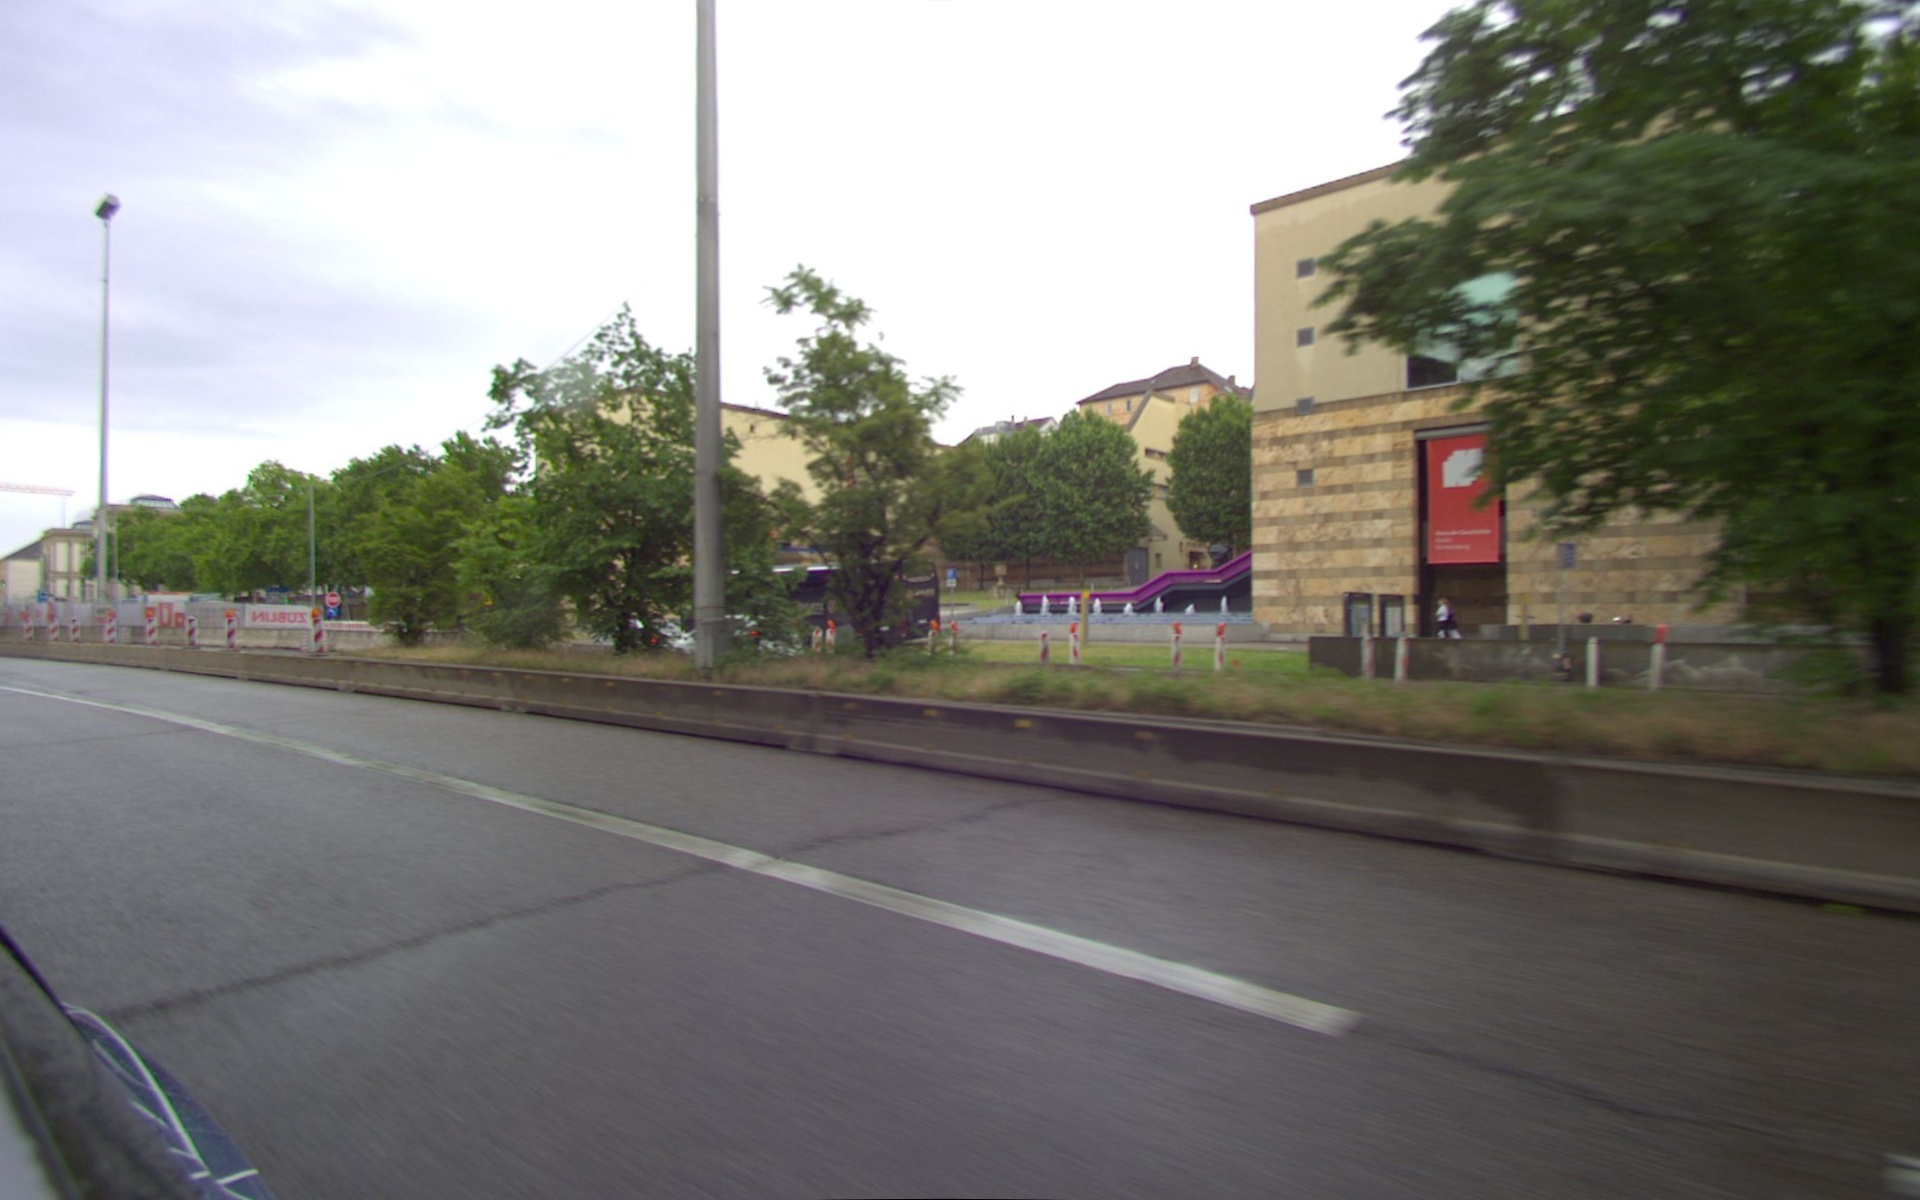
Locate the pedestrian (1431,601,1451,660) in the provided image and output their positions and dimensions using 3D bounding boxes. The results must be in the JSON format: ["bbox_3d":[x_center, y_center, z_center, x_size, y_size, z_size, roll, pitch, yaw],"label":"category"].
[{"bbox_3d":[16.852,1.070,35.457,0.511,2.029,0.473,0,-2,41],"label":"pedestrian"}]

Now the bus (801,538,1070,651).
[{"bbox_3d":[-1.548,-0.124,44.334,13.497,4.284,3.084,-1,0,44],"label":"bus"}]

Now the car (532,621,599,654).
[{"bbox_3d":[-18.944,1.765,48.547,3.210,1.512,1.576,-1,-2,38],"label":"car"}]

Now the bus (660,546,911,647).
[{"bbox_3d":[-8.205,-0.037,44.573,14.601,3.840,2.773,-1,0,44],"label":"bus"}]

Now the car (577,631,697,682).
[{"bbox_3d":[-11.653,1.989,36.388,4.808,1.637,1.972,0,-2,43],"label":"car"}]
